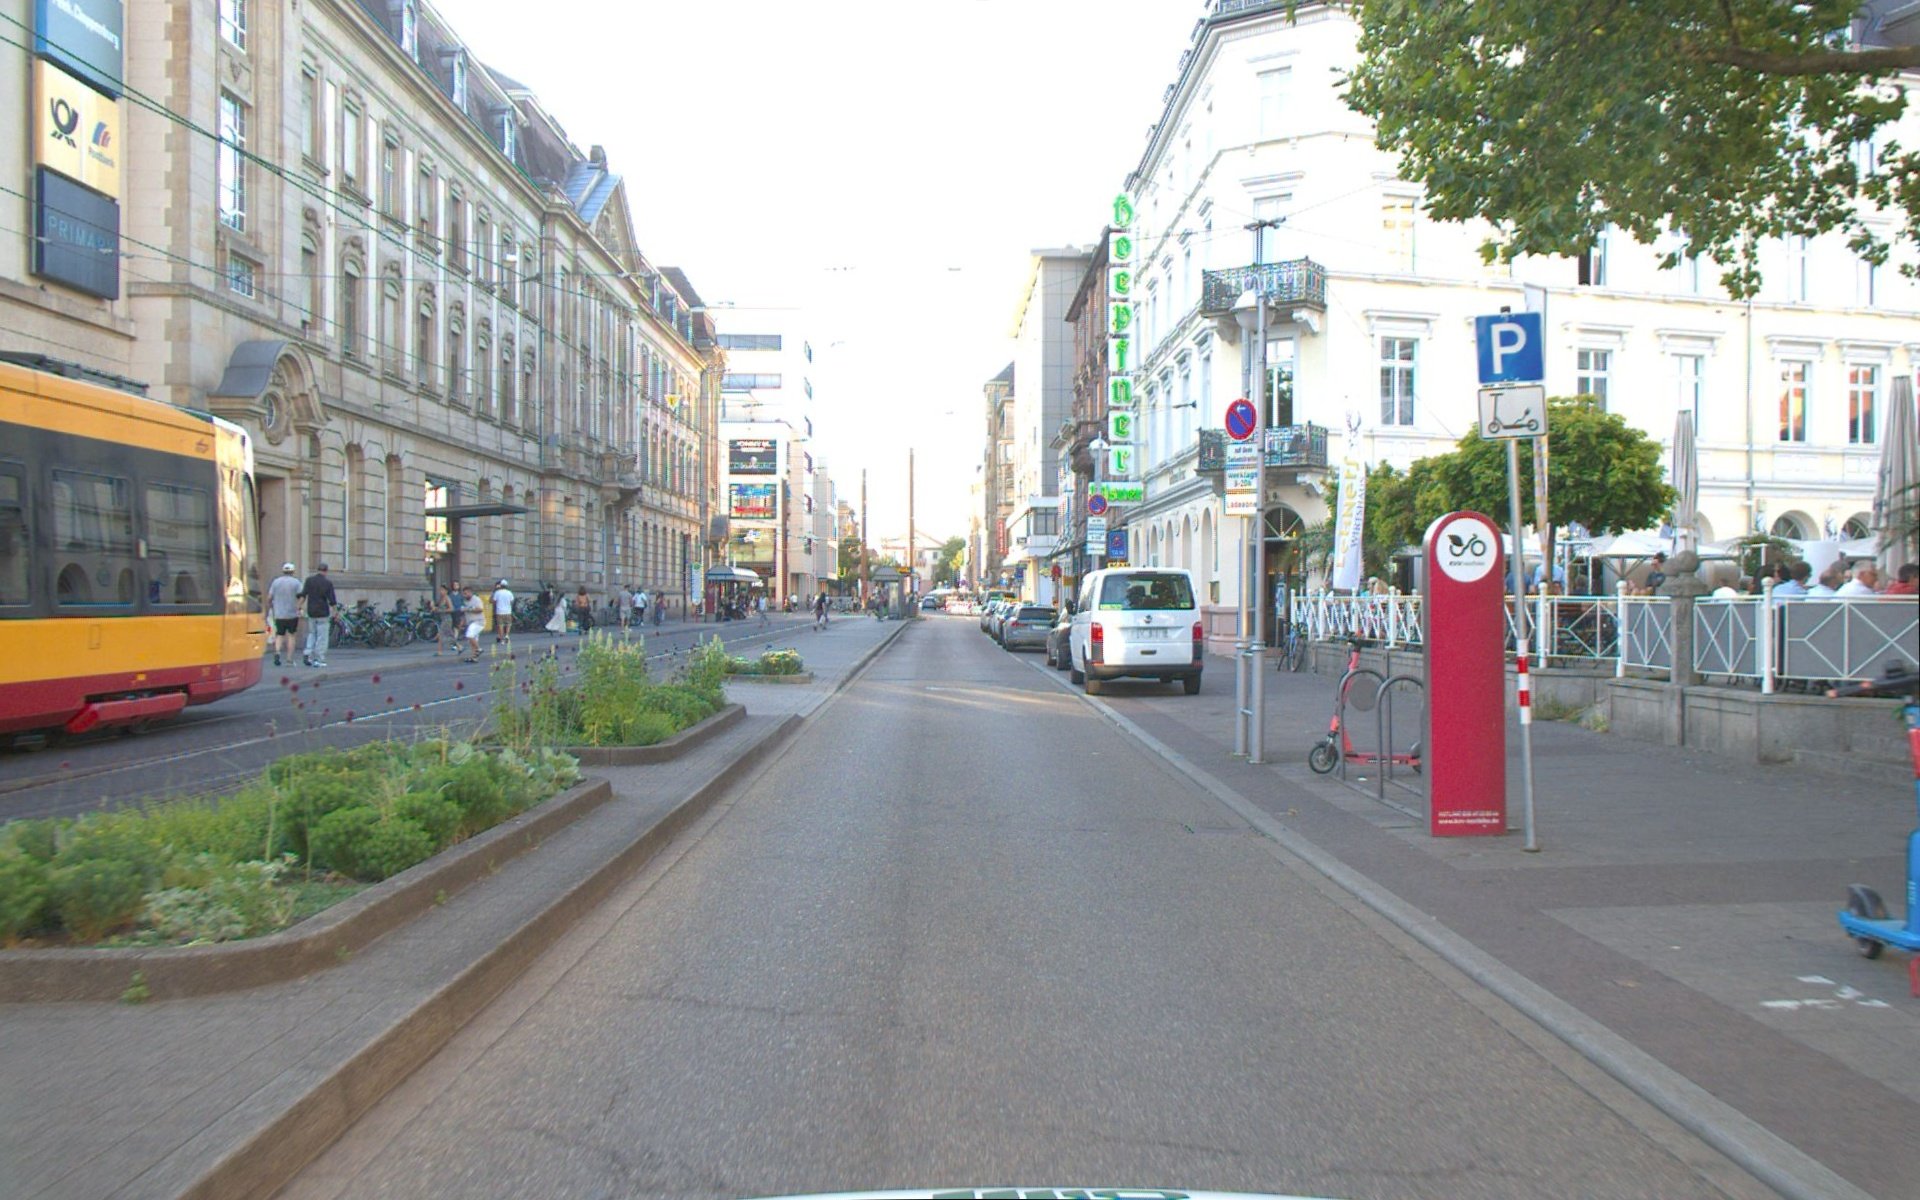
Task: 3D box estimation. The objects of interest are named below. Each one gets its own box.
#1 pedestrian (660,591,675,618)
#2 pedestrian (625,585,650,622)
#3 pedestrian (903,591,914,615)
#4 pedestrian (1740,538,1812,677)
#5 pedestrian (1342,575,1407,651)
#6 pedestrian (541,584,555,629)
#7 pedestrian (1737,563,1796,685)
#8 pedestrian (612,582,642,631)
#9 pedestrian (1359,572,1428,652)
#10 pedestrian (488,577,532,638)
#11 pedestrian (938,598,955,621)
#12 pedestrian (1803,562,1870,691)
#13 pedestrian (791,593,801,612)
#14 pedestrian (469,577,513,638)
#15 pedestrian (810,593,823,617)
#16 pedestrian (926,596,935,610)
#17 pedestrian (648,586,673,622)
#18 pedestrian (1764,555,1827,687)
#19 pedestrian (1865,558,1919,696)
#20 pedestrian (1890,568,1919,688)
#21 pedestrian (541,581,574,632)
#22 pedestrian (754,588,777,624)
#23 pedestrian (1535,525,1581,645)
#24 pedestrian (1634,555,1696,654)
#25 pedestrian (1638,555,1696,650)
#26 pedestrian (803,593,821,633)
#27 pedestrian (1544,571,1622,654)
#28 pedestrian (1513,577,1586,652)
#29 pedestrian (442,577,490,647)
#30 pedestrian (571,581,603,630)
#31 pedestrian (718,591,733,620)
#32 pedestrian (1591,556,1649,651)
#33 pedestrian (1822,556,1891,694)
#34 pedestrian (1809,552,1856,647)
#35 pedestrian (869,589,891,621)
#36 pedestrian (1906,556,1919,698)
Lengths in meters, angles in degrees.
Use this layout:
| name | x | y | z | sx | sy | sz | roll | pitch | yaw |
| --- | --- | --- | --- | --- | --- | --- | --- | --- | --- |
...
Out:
| name | x | y | z | sx | sy | sz | roll | pitch | yaw |
| --- | --- | --- | --- | --- | --- | --- | --- | --- | --- |
| pedestrian | -15.857 | 0.268 | 89.669 | 0.616 | 1.454 | 0.711 | 0 | 0 | 5 |
| pedestrian | -14.882 | 0.168 | 76.341 | 1.033 | 1.715 | 0.903 | 1 | 0 | -20 |
| pedestrian | -3.334 | 0.210 | 107.194 | 0.601 | 1.550 | 0.619 | 0 | -2 | -10 |
| pedestrian | 9.597 | 0.094 | 19.463 | 0.605 | 1.599 | 0.631 | -1 | -2 | 13 |
| pedestrian | 7.338 | 0.242 | 29.296 | 0.884 | 1.329 | 0.966 | 0 | -2 | -2 |
| pedestrian | -15.597 | 0.256 | 62.584 | 0.508 | 1.702 | 0.480 | 1 | 0 | -16 |
| pedestrian | 8.954 | 0.270 | 18.383 | 0.463 | 1.328 | 0.540 | -1 | -2 | 13 |
| pedestrian | -11.856 | 0.228 | 58.893 | 1.030 | 1.715 | 0.906 | 0 | -2 | -10 |
| pedestrian | 7.374 | 0.213 | 28.184 | 0.884 | 1.337 | 0.966 | 0 | -2 | -2 |
| pedestrian | -12.582 | 0.231 | 46.262 | 0.860 | 1.682 | 0.876 | -1 | -2 | 12 |
| pedestrian | -1.171 | 0.793 | 142.250 | 1.210 | 1.962 | 1.017 | 1 | 0 | -17 |
| pedestrian | 9.065 | 0.279 | 17.117 | 0.463 | 1.307 | 0.540 | -1 | -2 | 13 |
| pedestrian | -16.350 | 0.245 | 164.887 | 0.831 | 1.962 | 0.908 | 0 | 0 | 0 |
| pedestrian | -13.671 | 0.219 | 48.204 | 0.855 | 1.750 | 0.882 | -1 | -2 | 23 |
| pedestrian | -11.628 | 0.419 | 134.089 | 0.891 | 1.962 | 0.847 | 0 | 0 | -17 |
| pedestrian | -3.793 | 0.427 | 213.060 | 0.768 | 1.765 | 0.809 | -2 | -2 | 39 |
| pedestrian | -14.151 | 0.181 | 78.251 | 1.033 | 1.715 | 0.903 | 0 | 0 | -20 |
| pedestrian | 8.966 | 0.230 | 17.762 | 0.463 | 1.388 | 0.540 | -1 | -2 | 13 |
| pedestrian | 9.068 | 0.265 | 15.926 | 0.463 | 1.307 | 0.540 | -1 | -2 | 13 |
| pedestrian | 10.303 | 0.299 | 17.685 | 0.463 | 1.263 | 0.540 | -1 | -2 | 13 |
| pedestrian | -13.671 | 0.220 | 56.244 | 1.030 | 1.715 | 0.906 | 0 | -2 | -10 |
| pedestrian | -9.444 | 0.287 | 80.233 | 1.027 | 1.715 | 0.908 | 1 | 0 | -1 |
| pedestrian | 11.882 | -0.285 | 32.876 | 0.604 | 2.345 | 0.577 | 1 | -2 | -22 |
| pedestrian | 12.023 | 0.078 | 28.228 | 0.742 | 1.672 | 0.659 | 0 | -2 | -1 |
| pedestrian | 12.581 | 0.058 | 29.448 | 0.742 | 1.672 | 0.659 | 0 | -2 | 1 |
| pedestrian | -6.161 | 0.544 | 68.872 | 0.676 | 1.665 | 0.580 | 0 | 0 | -9 |
| pedestrian | 10.375 | 0.209 | 27.573 | 0.944 | 1.360 | 0.905 | 0 | -2 | -1 |
| pedestrian | 10.311 | 0.266 | 28.955 | 0.944 | 1.289 | 0.905 | 0 | -2 | -1 |
| pedestrian | -12.485 | 0.306 | 41.850 | 0.854 | 1.740 | 1.131 | 0 | -2 | 0 |
| pedestrian | -13.027 | 0.198 | 57.791 | 1.030 | 1.715 | 0.906 | 0 | -2 | -10 |
| pedestrian | -13.026 | 0.327 | 91.785 | 0.764 | 1.608 | 0.677 | 0 | 0 | -12 |
| pedestrian | 11.741 | 0.067 | 29.446 | 0.742 | 1.672 | 0.659 | 0 | -2 | 0 |
| pedestrian | 8.955 | 0.255 | 16.535 | 0.463 | 1.353 | 0.540 | -1 | -2 | 13 |
| pedestrian | 16.127 | -0.004 | 30.565 | 0.505 | 1.742 | 0.571 | 1 | -2 | -33 |
| pedestrian | -4.413 | 0.296 | 90.979 | 1.026 | 1.715 | 0.909 | 0 | -2 | 10 |
| pedestrian | 9.113 | 0.248 | 15.302 | 0.463 | 1.307 | 0.540 | -1 | -2 | 13 |
